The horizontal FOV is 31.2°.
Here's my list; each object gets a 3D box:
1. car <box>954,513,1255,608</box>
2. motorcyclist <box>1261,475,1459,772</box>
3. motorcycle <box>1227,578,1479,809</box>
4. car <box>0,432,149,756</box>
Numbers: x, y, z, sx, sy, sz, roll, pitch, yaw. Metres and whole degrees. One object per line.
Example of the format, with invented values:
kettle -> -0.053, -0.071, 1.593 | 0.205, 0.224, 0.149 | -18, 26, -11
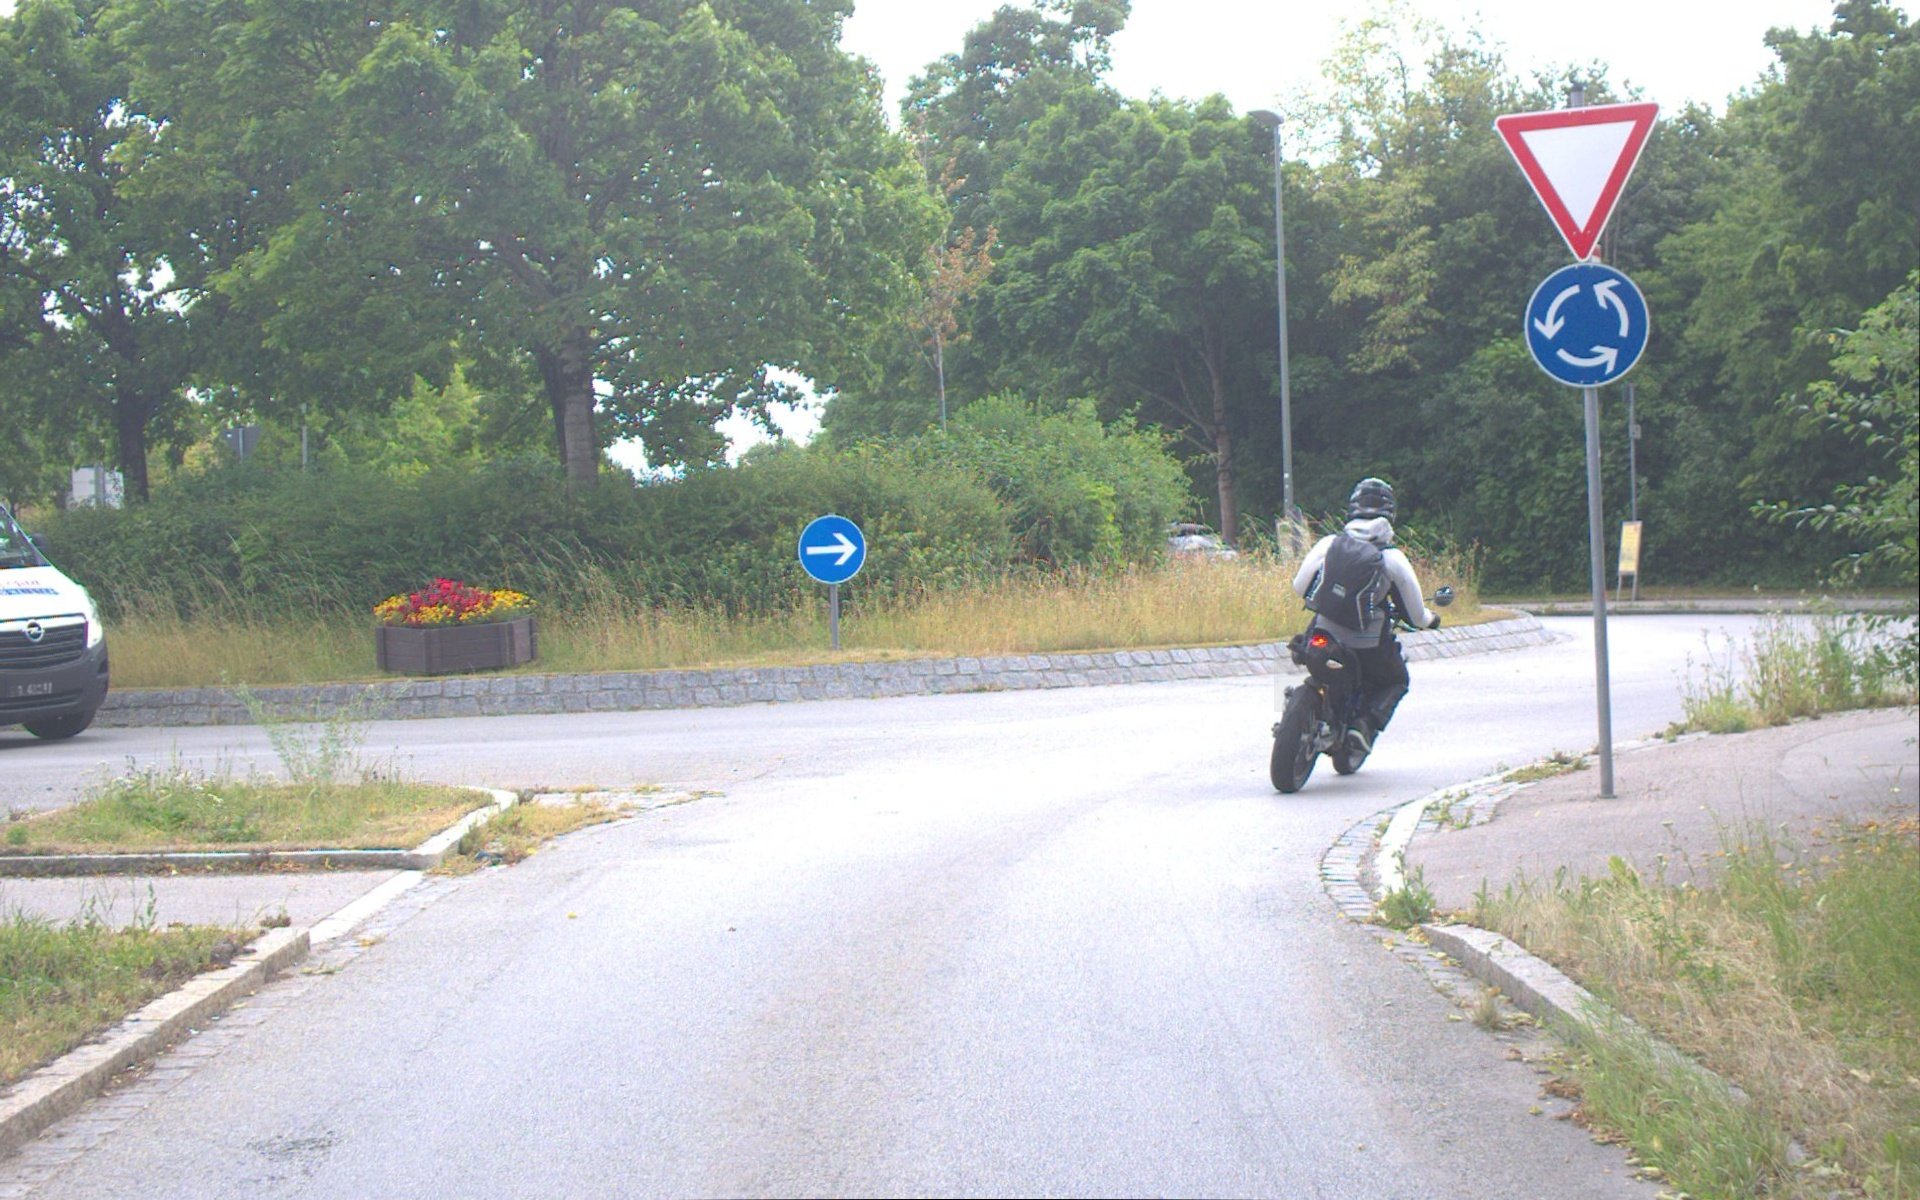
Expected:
car -> 2.136, -0.577, 51.078 | 3.995, 1.251, 1.996 | -1, 2, 36
motorcyclist -> 2.274, 0.120, 19.426 | 0.862, 1.618, 1.190 | -1, 1, 18
motorcycle -> 2.252, 0.489, 19.336 | 0.897, 1.154, 2.618 | -1, 1, 18
car -> -9.288, -0.007, 27.841 | 5.435, 2.443, 2.165 | -1, 2, 36
